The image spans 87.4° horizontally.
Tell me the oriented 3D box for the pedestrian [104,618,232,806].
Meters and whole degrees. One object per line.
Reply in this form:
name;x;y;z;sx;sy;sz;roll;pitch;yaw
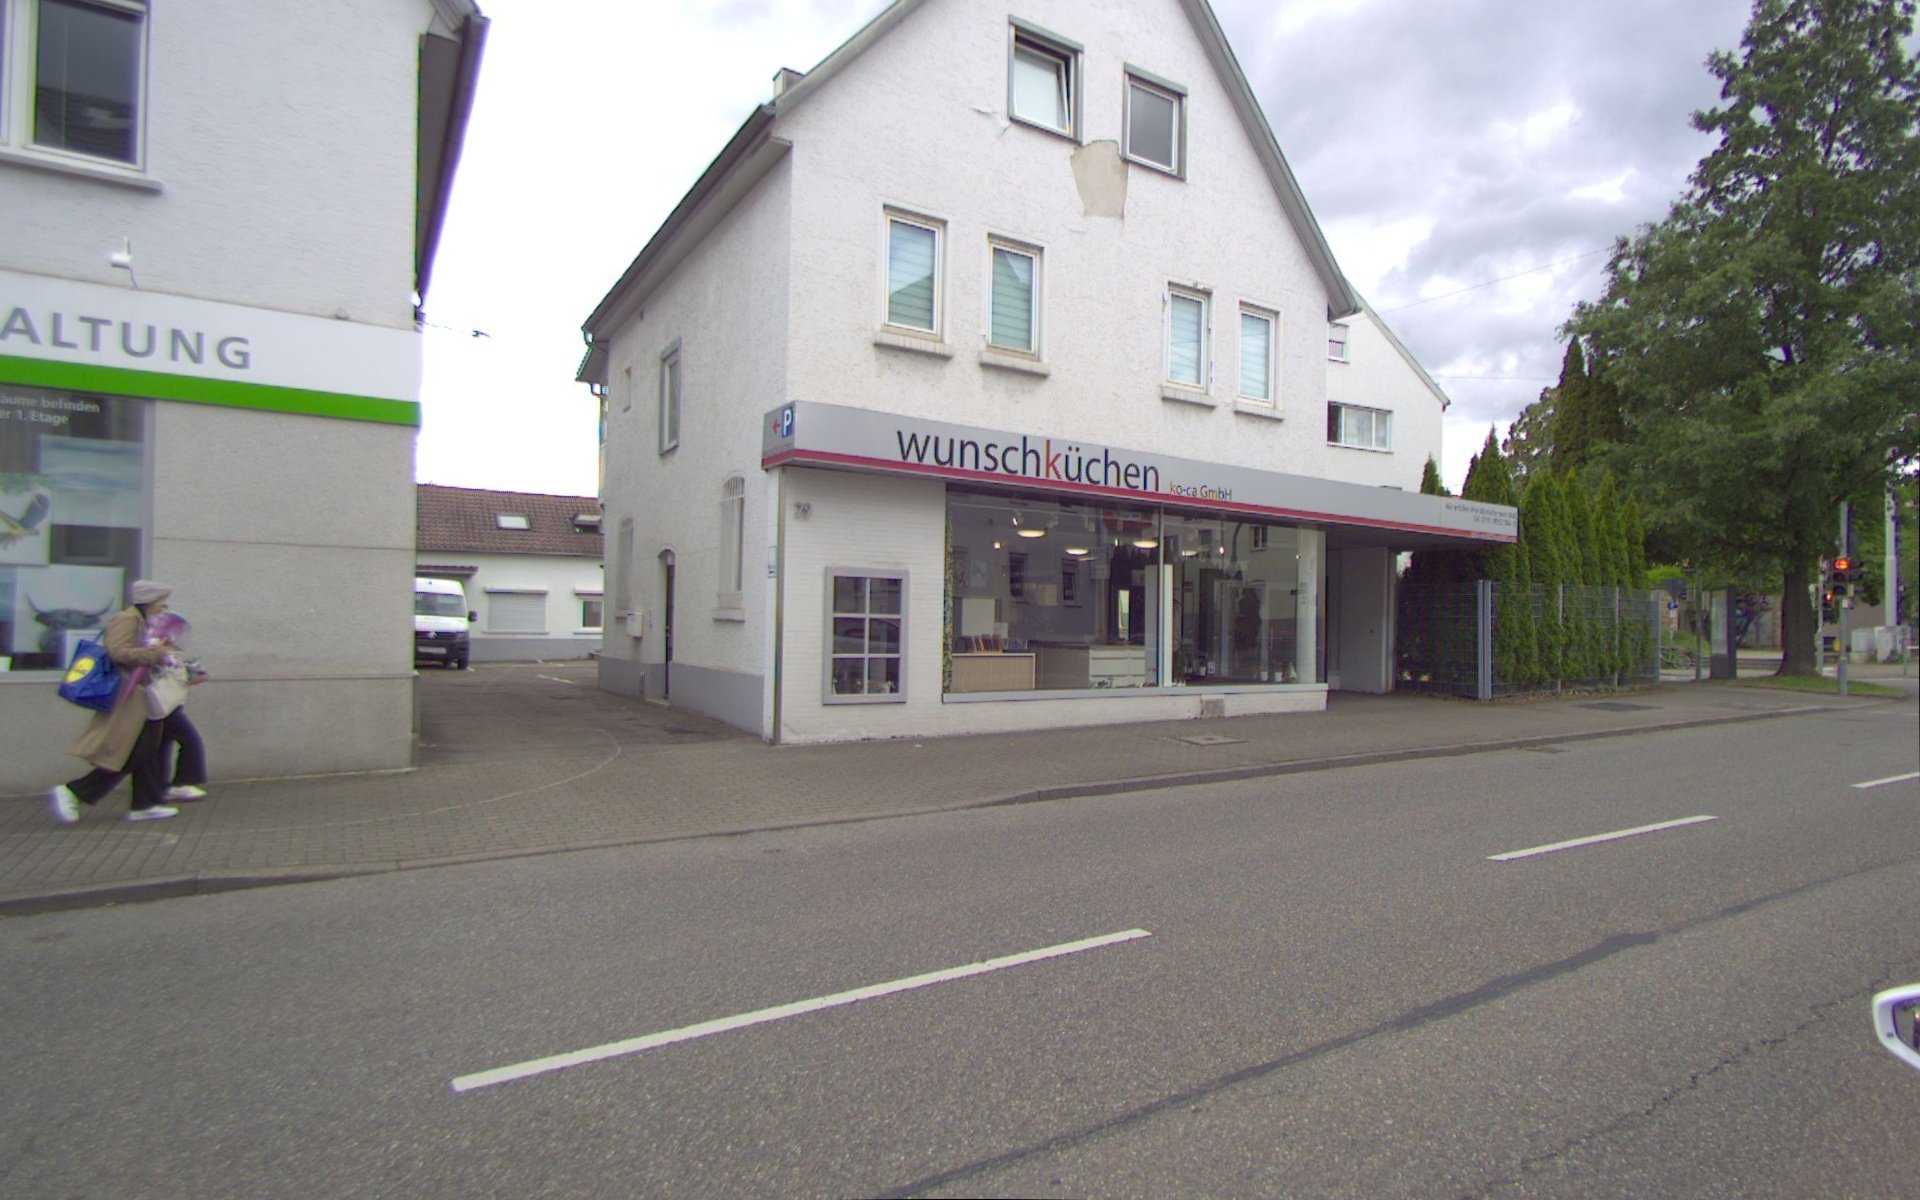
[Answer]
pedestrian;-5.856;0.800;7.460;0.647;1.297;0.596;1;1;-31

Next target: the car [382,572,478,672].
car;-15.571;0.588;29.319;1.938;2.541;5.943;4;-2;-32

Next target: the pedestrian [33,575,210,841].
pedestrian;-5.610;0.678;6.773;0.784;1.638;0.747;1;2;-31
